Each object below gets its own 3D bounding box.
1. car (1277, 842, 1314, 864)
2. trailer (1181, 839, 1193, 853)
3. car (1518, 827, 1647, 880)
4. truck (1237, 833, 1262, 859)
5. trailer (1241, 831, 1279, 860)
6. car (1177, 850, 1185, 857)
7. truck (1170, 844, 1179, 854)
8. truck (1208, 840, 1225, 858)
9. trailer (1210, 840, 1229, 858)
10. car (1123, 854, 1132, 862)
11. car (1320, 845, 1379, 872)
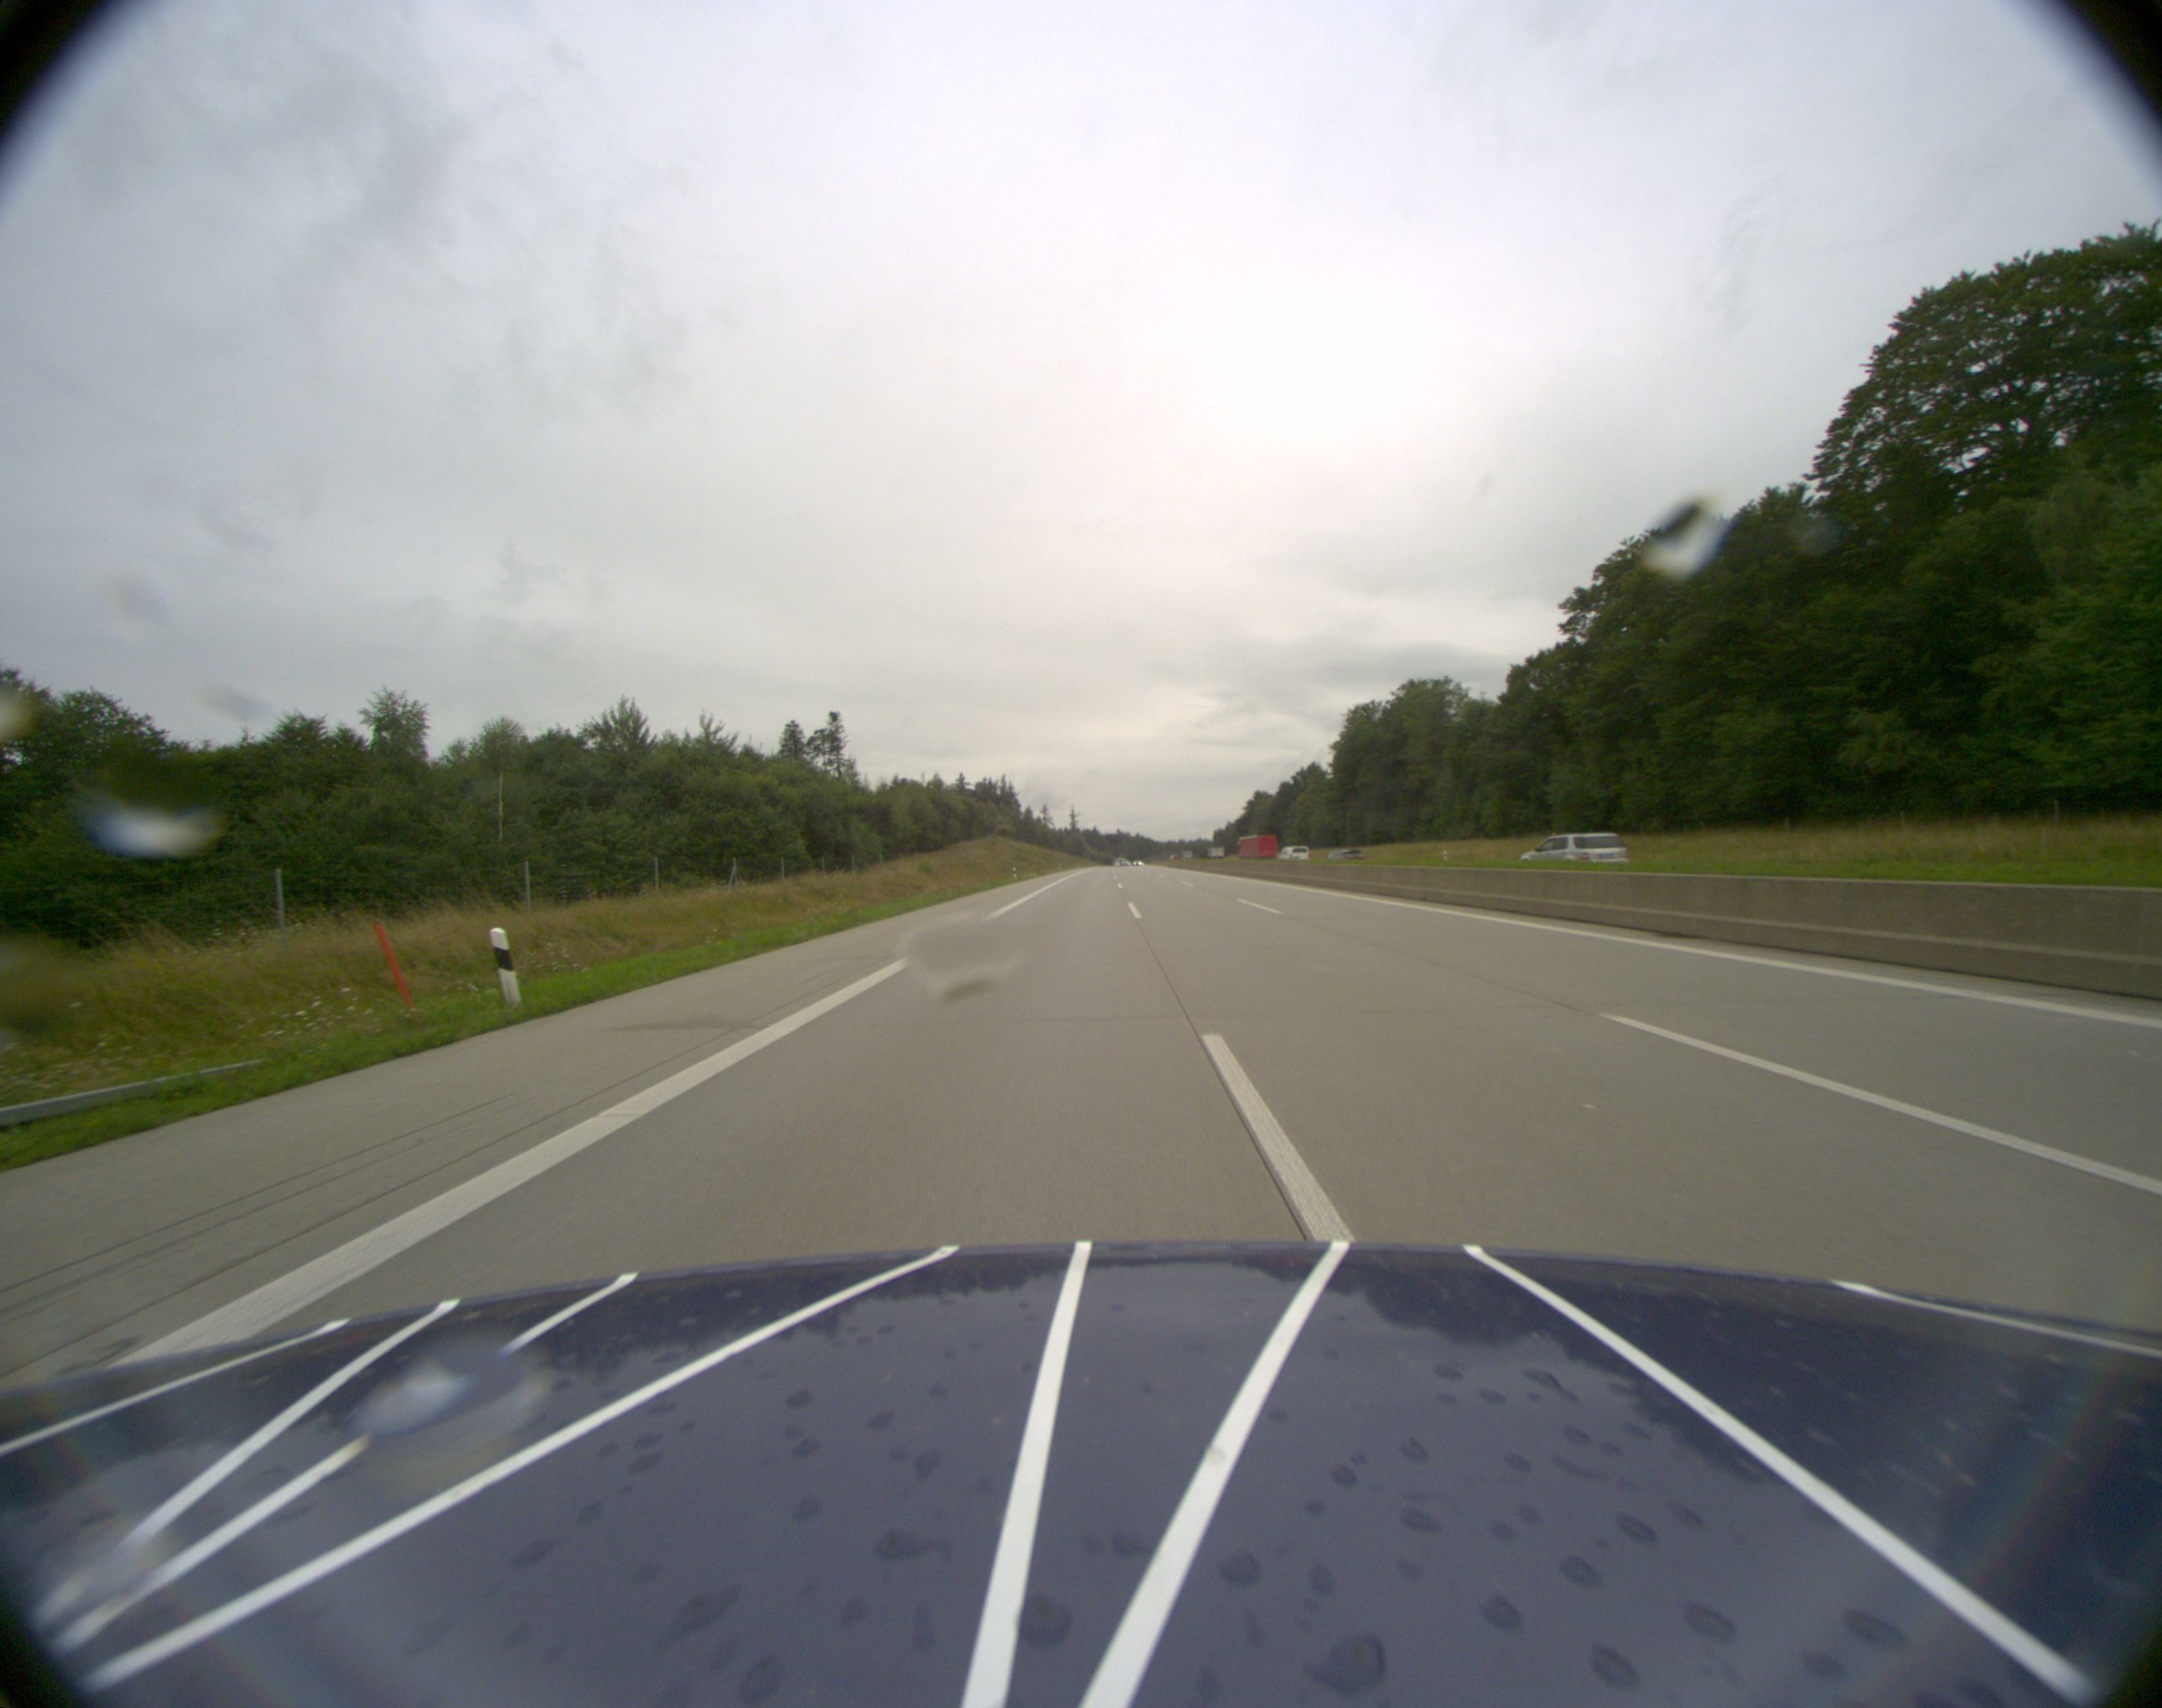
[{"bbox_3d":[20.605,-0.095,73.226,1.998,1.944,5.626,-2,0,0],"label":"car"},{"bbox_3d":[34.122,-2.546,245.214,2.503,4.079,13.978,-3,0,4],"label":"trailer"},{"bbox_3d":[18.940,-0.026,28.967,1.998,1.789,4.391,-3,0,1],"label":"car"},{"bbox_3d":[26.876,-1.177,121.227,2.559,3.905,6.948,-2,0,2],"label":"truck"},{"bbox_3d":[26.567,-1.206,113.608,2.614,3.920,14.381,-2,0,2],"label":"trailer"},{"bbox_3d":[29.502,-0.174,225.063,1.998,1.871,5.315,-2,0,5],"label":"car"},{"bbox_3d":[29.317,-1.561,237.442,2.273,2.772,6.513,-3,0,4],"label":"truck"},{"bbox_3d":[30.253,-1.049,169.691,2.787,3.718,5.661,-2,0,2],"label":"truck"},{"bbox_3d":[30.061,-1.069,165.449,2.810,3.678,9.014,-2,0,2],"label":"trailer"},{"bbox_3d":[13.245,1.186,215.822,2.214,2.001,4.834,-3,-1,-1],"label":"car"},{"bbox_3d":[16.207,0.270,46.111,1.998,1.458,4.492,-2,0,1],"label":"car"}]
